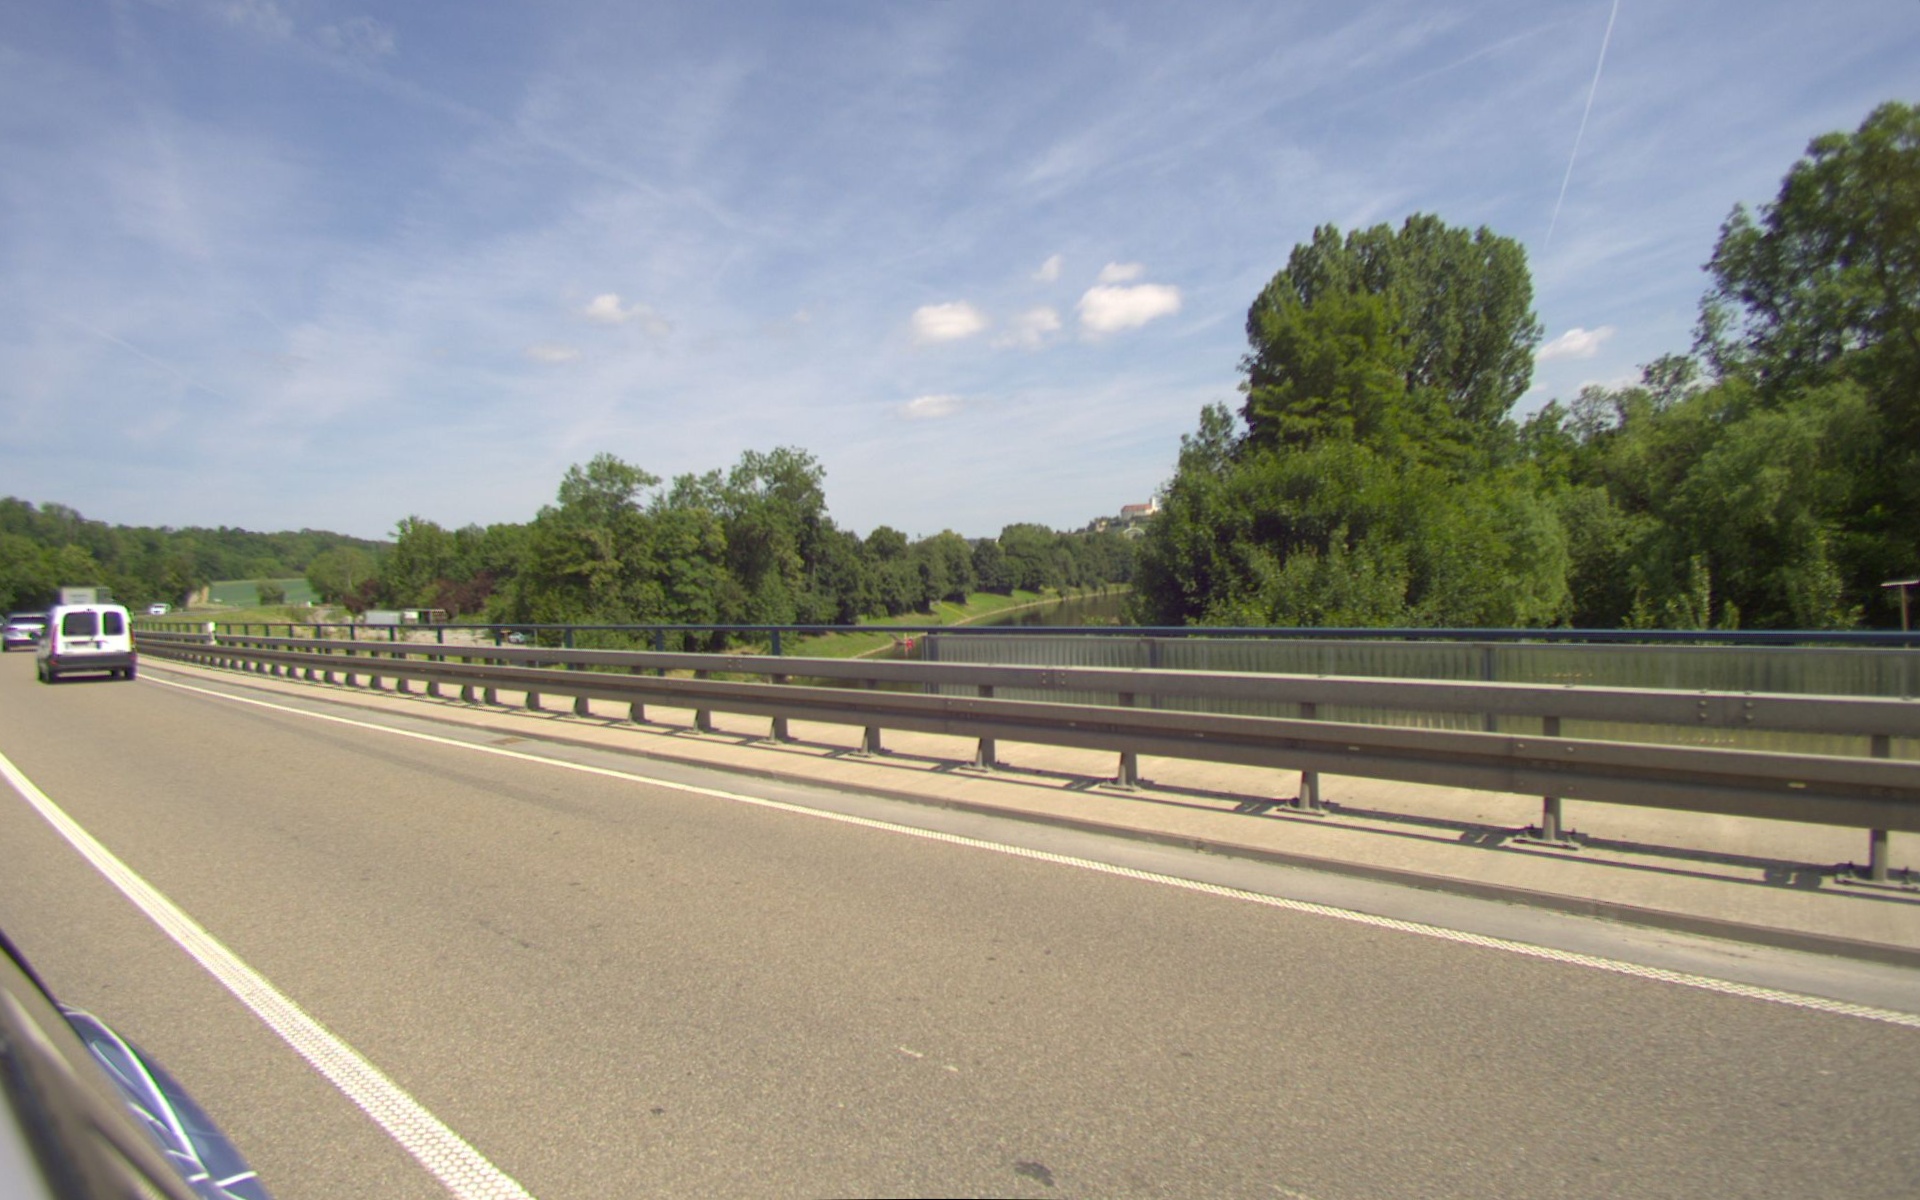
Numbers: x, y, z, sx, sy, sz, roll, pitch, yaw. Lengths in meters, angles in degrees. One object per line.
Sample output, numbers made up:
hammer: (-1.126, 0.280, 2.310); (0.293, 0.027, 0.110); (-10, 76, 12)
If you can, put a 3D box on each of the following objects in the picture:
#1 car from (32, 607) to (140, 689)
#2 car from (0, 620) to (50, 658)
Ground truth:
car: (-21.096, 1.088, 24.379); (1.718, 1.788, 4.038); (-1, -1, -45)
car: (-42.269, 1.734, 45.603); (1.718, 1.623, 3.810); (-1, -1, -45)
